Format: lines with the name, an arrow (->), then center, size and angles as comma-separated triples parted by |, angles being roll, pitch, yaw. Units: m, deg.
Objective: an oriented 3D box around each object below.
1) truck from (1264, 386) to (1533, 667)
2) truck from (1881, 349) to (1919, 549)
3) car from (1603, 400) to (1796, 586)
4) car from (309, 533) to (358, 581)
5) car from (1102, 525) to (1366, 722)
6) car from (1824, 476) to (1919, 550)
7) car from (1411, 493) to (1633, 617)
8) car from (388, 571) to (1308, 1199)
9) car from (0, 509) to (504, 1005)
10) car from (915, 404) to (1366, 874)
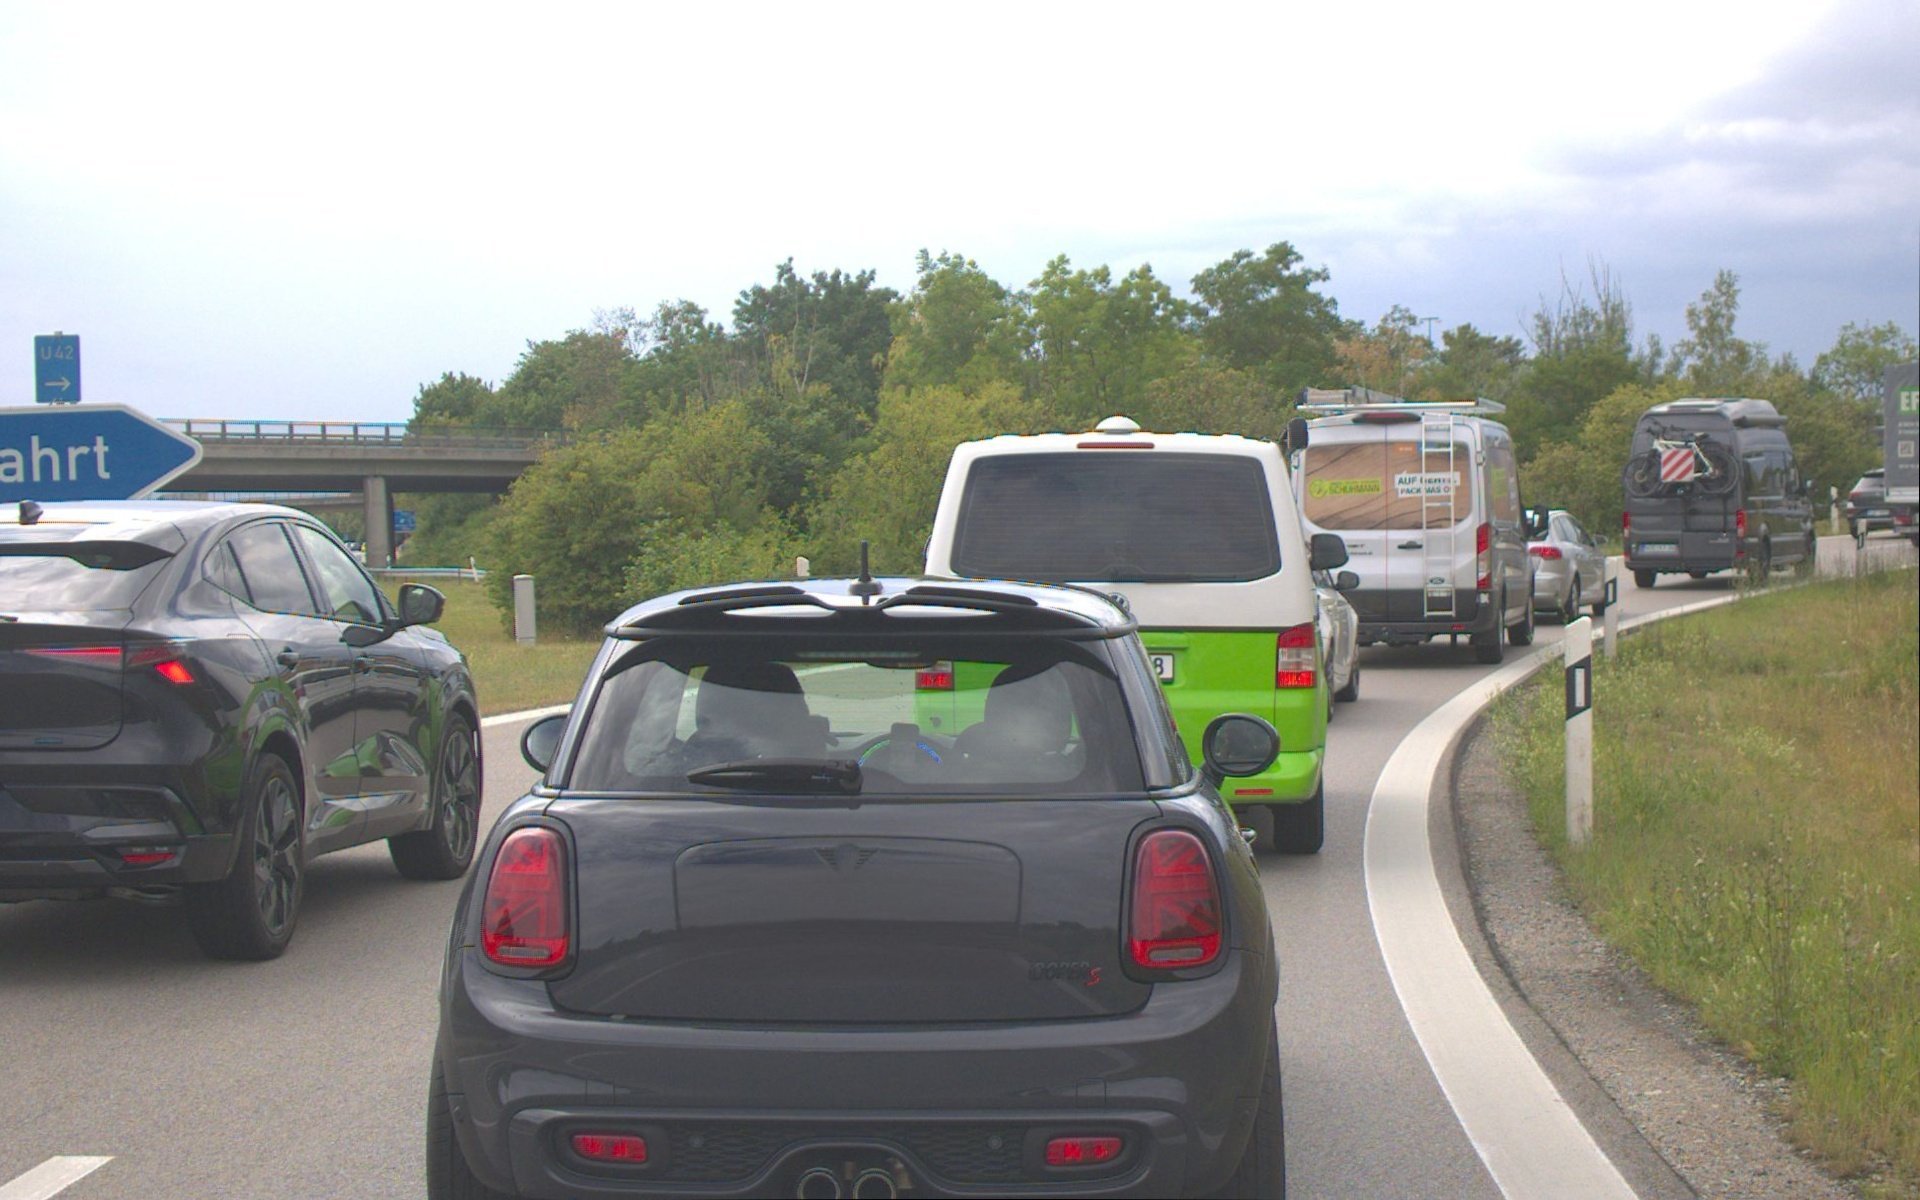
truck -> 4.583, -0.773, 35.227 | 2.180, 2.649, 5.106 | 0, 2, 13
truck -> 20.797, -2.971, 69.774 | 2.233, 3.893, 6.004 | 1, 0, 34
car -> 11.599, -1.661, 53.732 | 2.107, 2.786, 3.995 | 1, 2, 25
car -> -26.708, -1.812, 146.556 | 1.993, 2.007, 4.001 | 1, 0, -11
car -> 2.164, 0.136, 26.340 | 1.763, 1.394, 3.724 | -1, 1, 8
car -> 20.667, -1.895, 75.901 | 1.799, 1.550, 3.953 | 0, 0, 35
car -> 7.189, -0.582, 43.687 | 1.868, 1.504, 3.995 | 0, 1, 24
car -> -0.233, 0.654, 8.322 | 1.727, 1.409, 3.725 | 0, 1, -1
car -> -3.161, 0.458, 13.125 | 1.834, 1.560, 4.497 | 0, 1, 6
car -> 1.000, 0.125, 16.796 | 1.785, 2.007, 3.999 | 0, 1, 9
